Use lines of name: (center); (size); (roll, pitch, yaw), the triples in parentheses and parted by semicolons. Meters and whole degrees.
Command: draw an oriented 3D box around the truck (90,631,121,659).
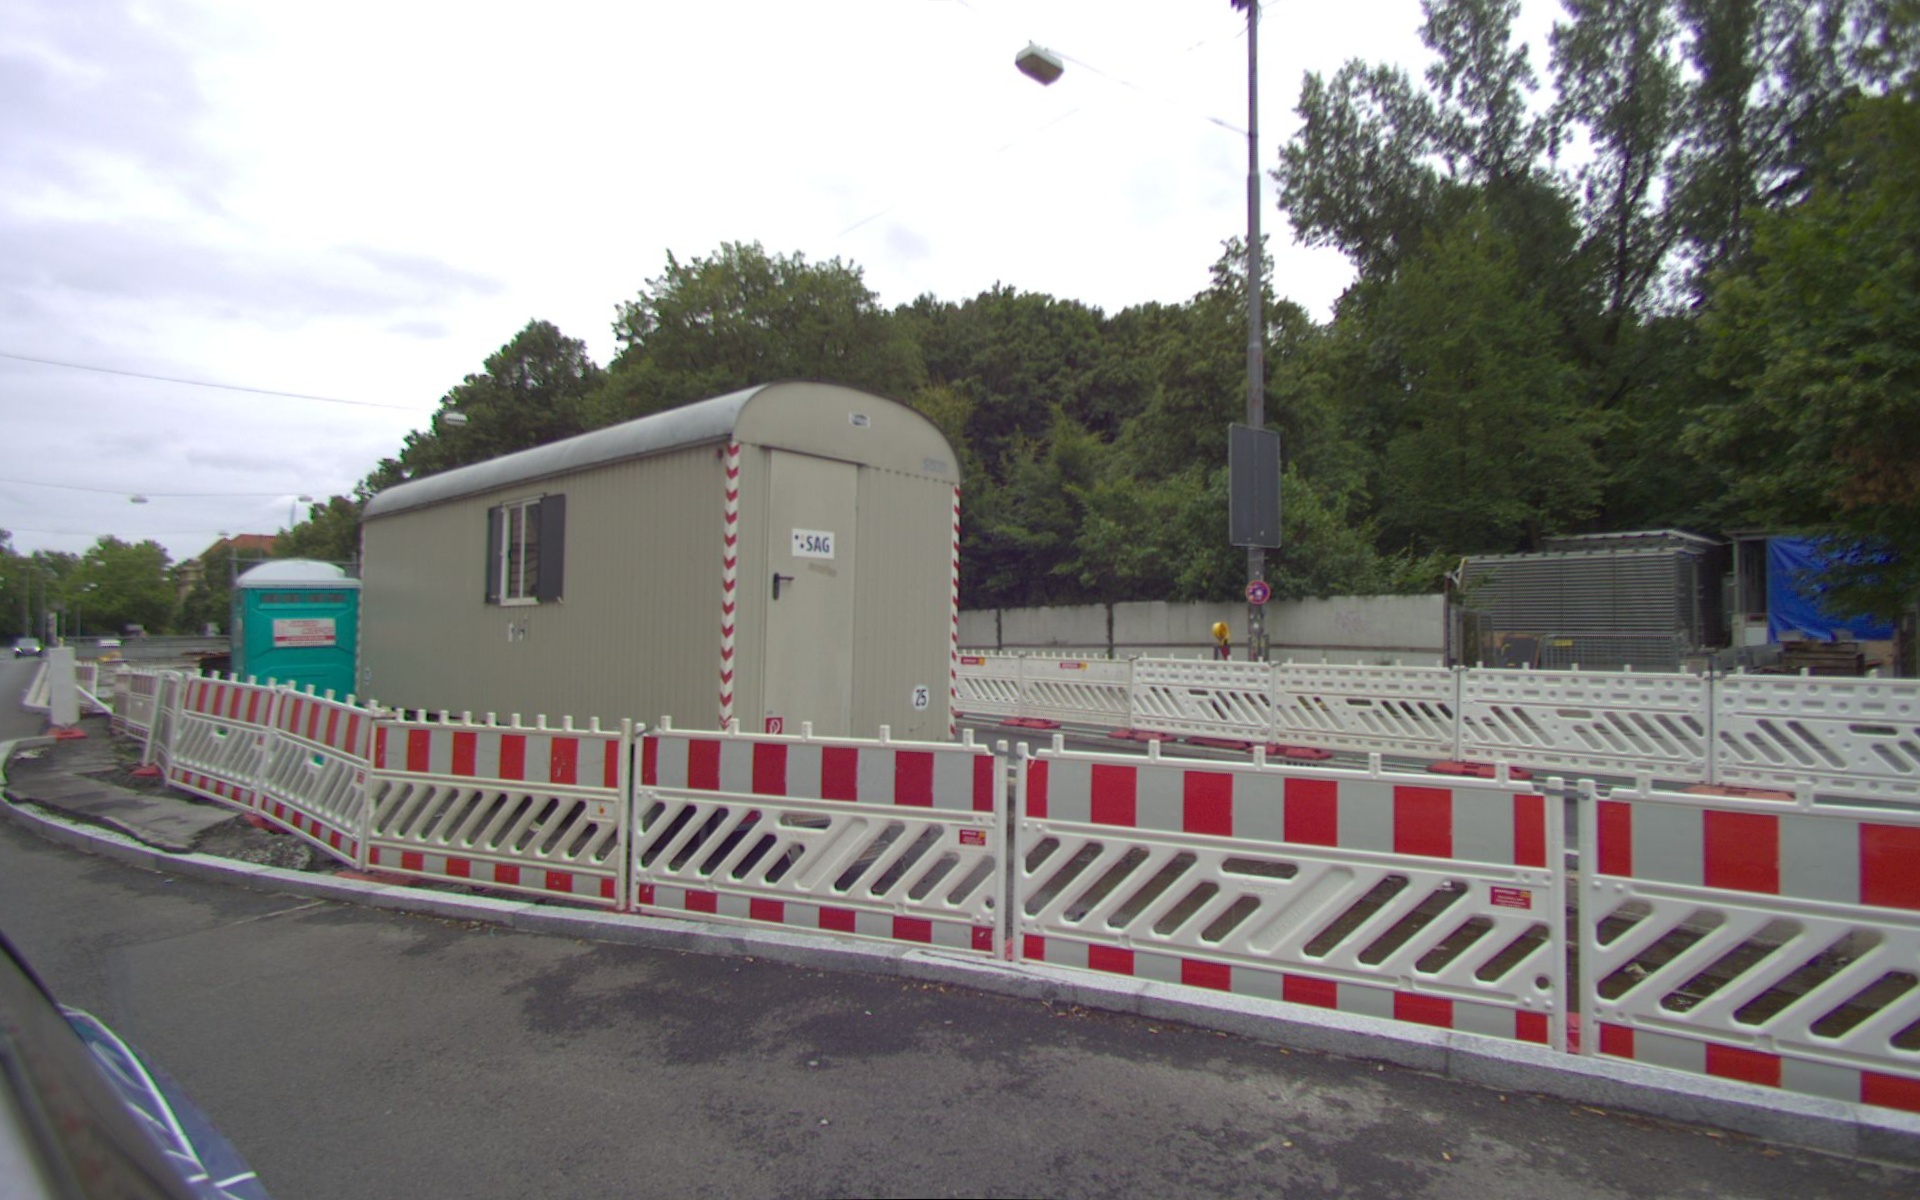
truck: (-84.764, 4.453, 100.335); (2.029, 2.661, 4.416); (2, -3, -43)

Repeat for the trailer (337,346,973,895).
trailer: (-3.381, 0.186, 9.418); (7.519, 3.268, 2.202); (-1, -2, 43)

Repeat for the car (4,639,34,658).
car: (-89.195, 4.551, 95.897); (1.970, 1.762, 4.003); (2, -3, -43)
